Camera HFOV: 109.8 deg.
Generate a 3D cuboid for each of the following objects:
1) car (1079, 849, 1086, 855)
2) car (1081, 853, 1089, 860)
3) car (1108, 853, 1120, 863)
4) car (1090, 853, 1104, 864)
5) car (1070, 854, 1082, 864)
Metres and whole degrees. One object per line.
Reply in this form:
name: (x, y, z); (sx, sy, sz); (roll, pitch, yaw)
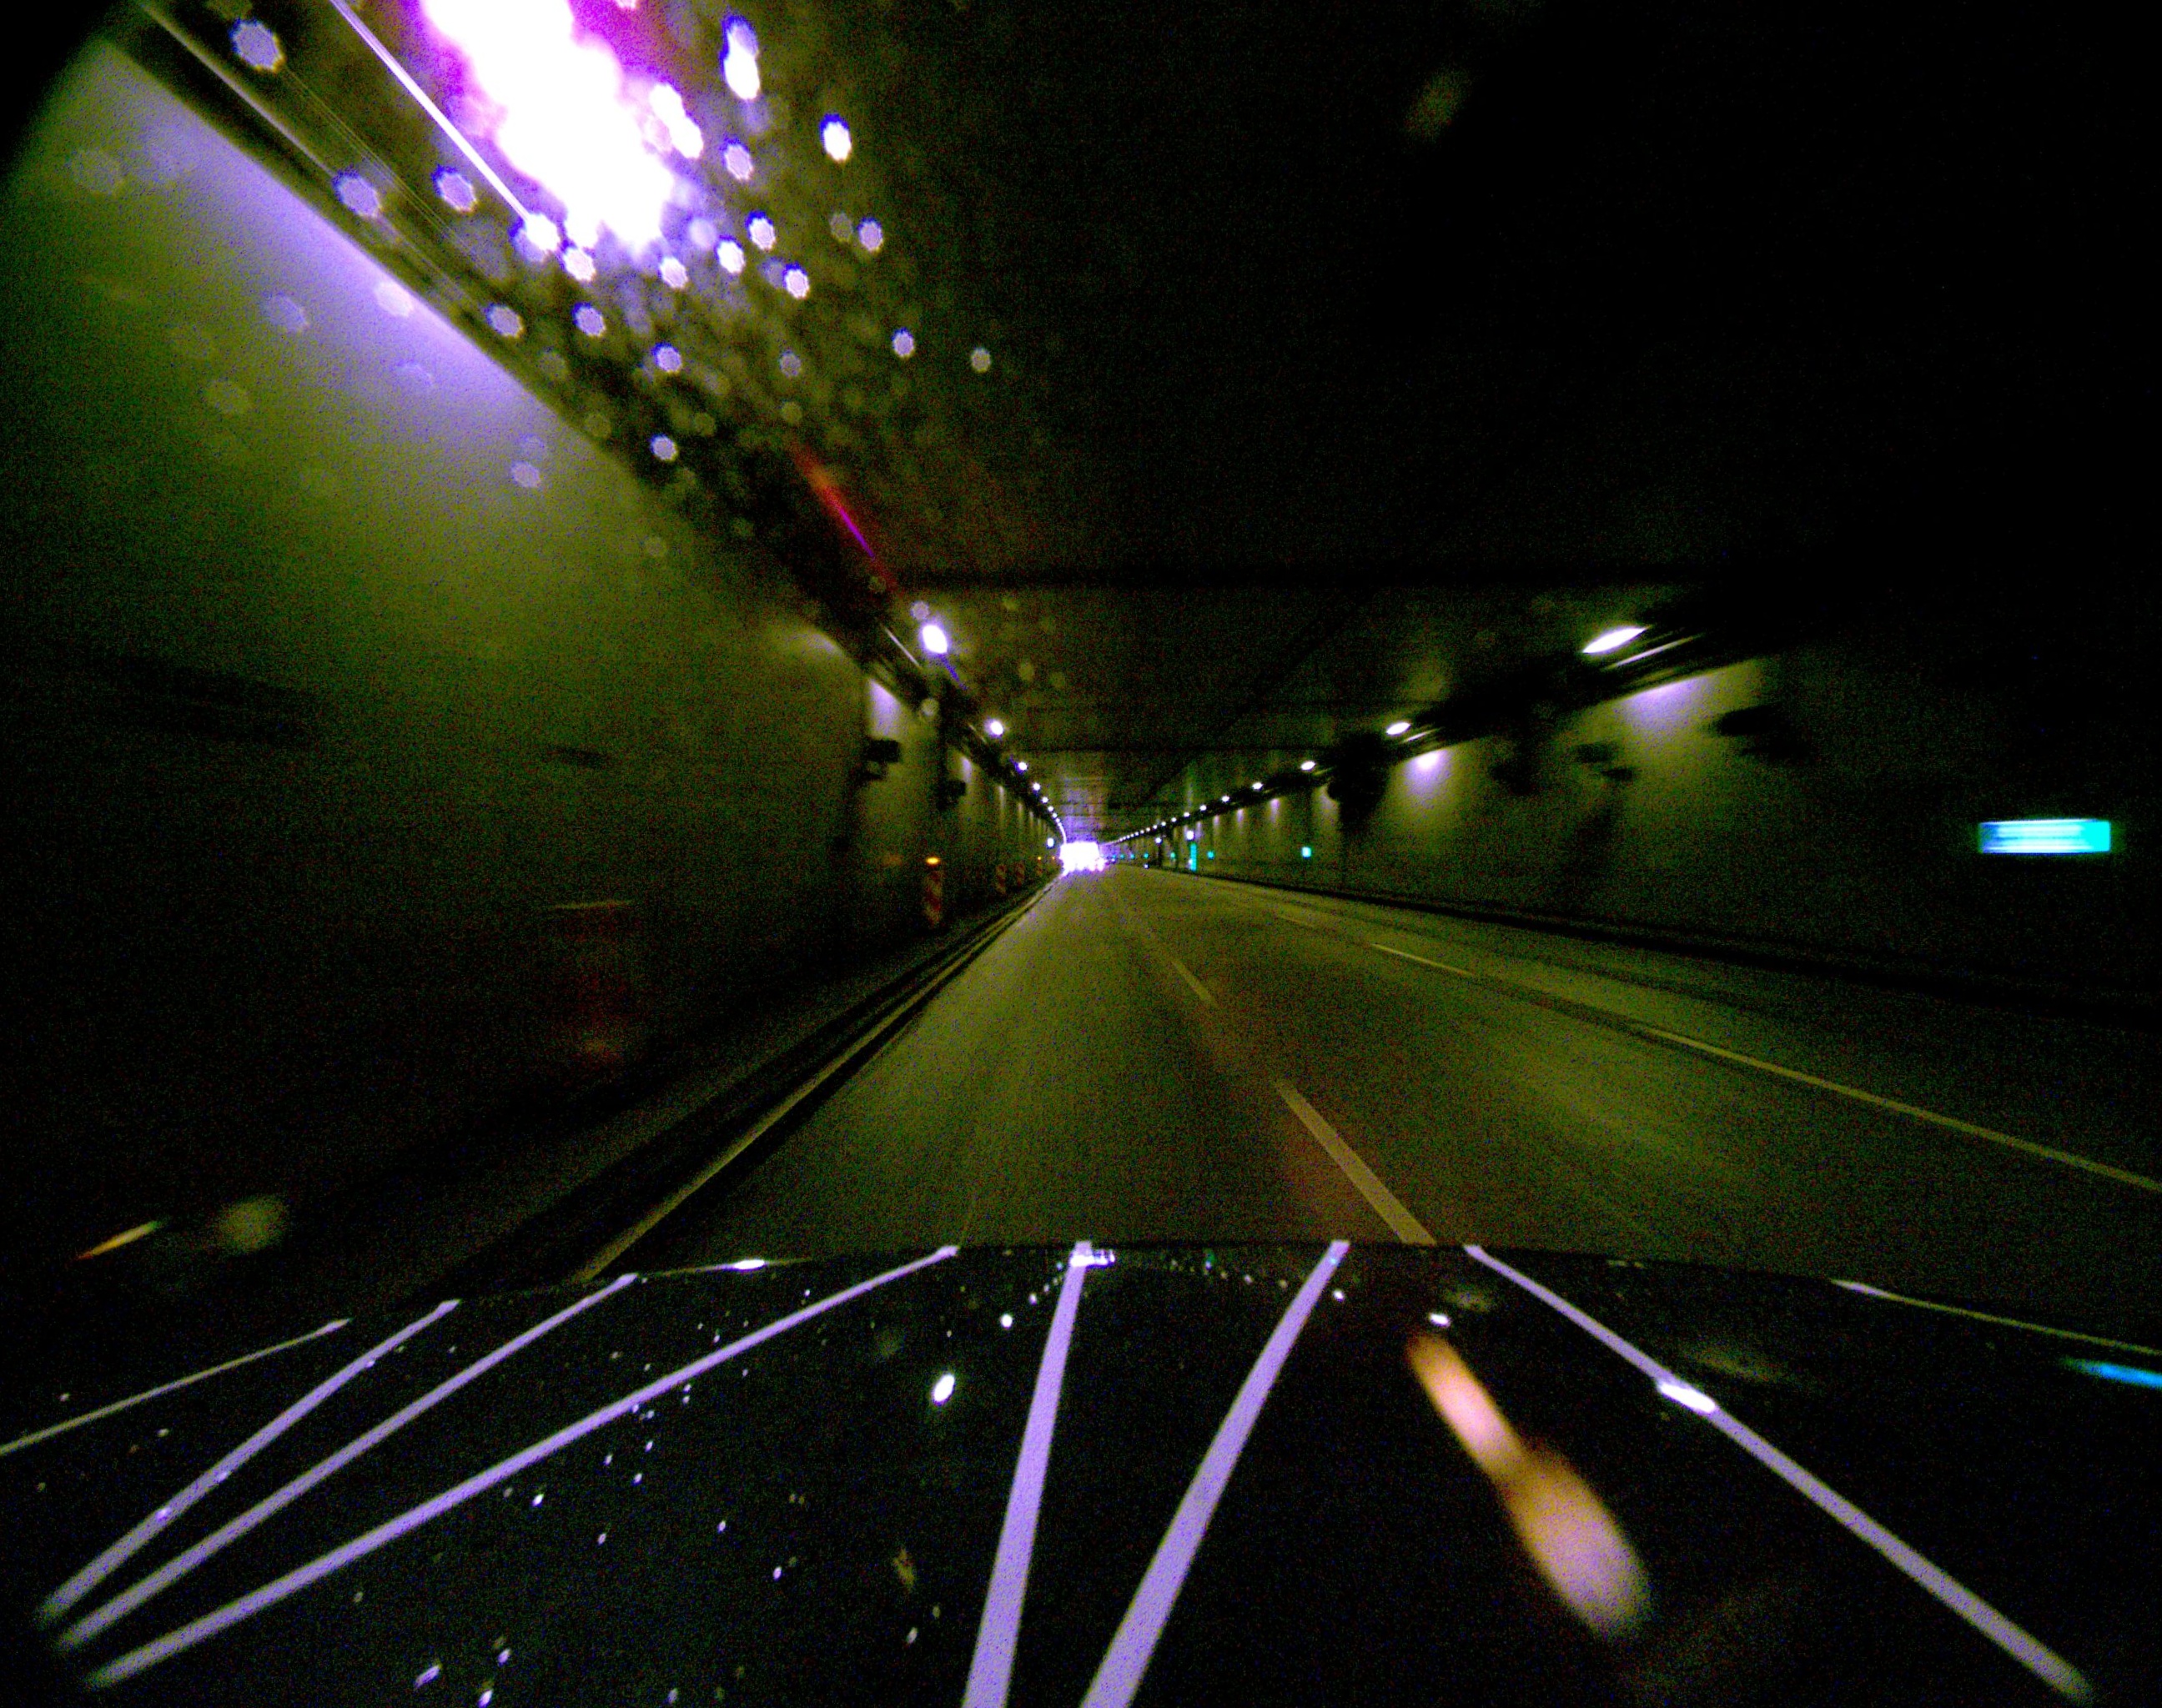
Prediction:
car: (0.542, -0.665, 254.685); (1.998, 1.756, 4.000); (-1, 0, 1)
car: (1.114, 0.715, 212.545); (1.998, 1.756, 4.000); (-1, 0, 1)
car: (6.094, 0.751, 139.913); (1.998, 1.685, 4.001); (-1, -1, 0)
car: (2.618, 0.742, 126.023); (1.998, 1.686, 4.001); (-2, 0, 6)
car: (-0.787, 0.823, 133.142); (1.998, 1.686, 4.000); (-1, 0, 1)
